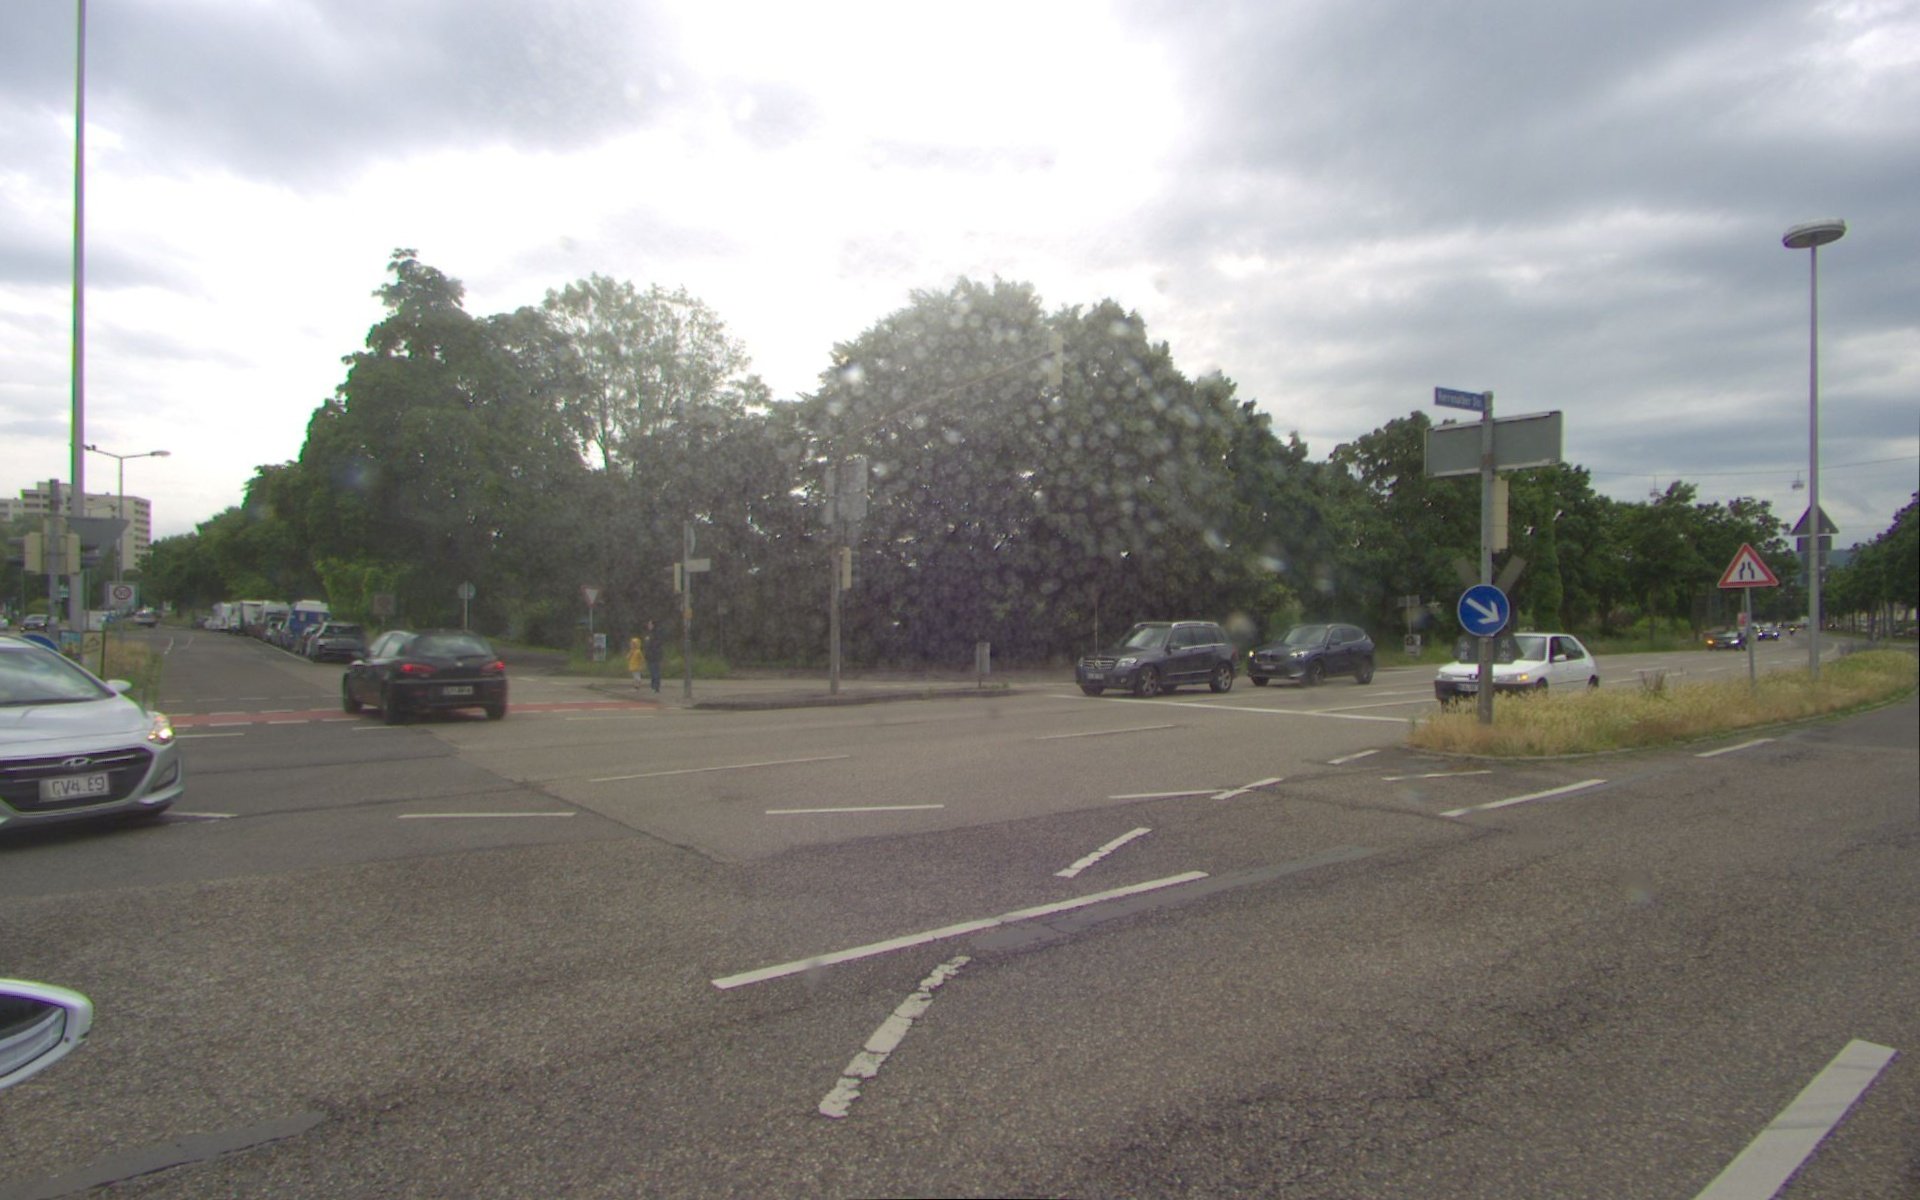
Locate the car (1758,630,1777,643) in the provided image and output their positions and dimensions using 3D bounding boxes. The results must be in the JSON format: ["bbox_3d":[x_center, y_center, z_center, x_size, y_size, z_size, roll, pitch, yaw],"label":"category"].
[{"bbox_3d":[114.346,5.157,141.815,1.978,1.677,3.967,-1,-1,42],"label":"car"}]

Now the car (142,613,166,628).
[{"bbox_3d":[-87.966,2.218,109.247,2.005,1.525,3.966,1,-1,-40],"label":"car"}]

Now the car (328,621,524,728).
[{"bbox_3d":[-8.964,1.115,16.608,1.786,1.476,4.497,1,-1,-43],"label":"car"}]

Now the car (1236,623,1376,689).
[{"bbox_3d":[9.325,1.442,26.870,3.958,1.639,1.862,1,-1,-41],"label":"car"}]

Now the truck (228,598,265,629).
[{"bbox_3d":[-60.665,1.162,85.146,1.979,2.606,5.330,1,-1,-42],"label":"truck"}]

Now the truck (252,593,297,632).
[{"bbox_3d":[-52.391,0.976,76.469,1.980,2.875,5.676,1,-1,-43],"label":"truck"}]

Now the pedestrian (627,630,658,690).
[{"bbox_3d":[-7.395,1.377,23.291,0.523,1.359,0.520,1,0,-40],"label":"pedestrian"}]

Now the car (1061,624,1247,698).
[{"bbox_3d":[4.548,1.336,23.099,4.429,1.523,1.831,1,-1,-40],"label":"car"}]

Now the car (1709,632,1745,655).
[{"bbox_3d":[54.056,3.023,70.554,1.643,1.550,3.856,0,-1,43],"label":"car"}]

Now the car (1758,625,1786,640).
[{"bbox_3d":[86.429,3.442,106.570,3.958,1.594,1.744,1,-1,-41],"label":"car"}]

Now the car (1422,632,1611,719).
[{"bbox_3d":[10.207,1.296,18.241,4.104,1.375,1.633,1,-1,-40],"label":"car"}]

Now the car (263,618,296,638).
[{"bbox_3d":[-44.450,1.815,65.401,1.315,1.206,3.620,1,-1,-42],"label":"car"}]

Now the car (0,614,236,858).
[{"bbox_3d":[-7.856,0.882,7.743,4.253,1.539,1.790,0,-1,24],"label":"car"}]

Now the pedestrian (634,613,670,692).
[{"bbox_3d":[-7.043,1.182,22.898,0.652,1.773,0.455,1,0,-41],"label":"pedestrian"}]

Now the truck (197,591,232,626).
[{"bbox_3d":[-68.773,0.824,92.293,1.980,3.048,5.717,1,-1,-43],"label":"truck"}]

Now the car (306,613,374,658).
[{"bbox_3d":[-24.755,1.363,39.913,1.770,1.683,3.966,1,-1,-40],"label":"car"}]

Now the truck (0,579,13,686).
[{"bbox_3d":[-20.226,0.654,19.394,2.137,2.227,5.795,1,-1,-38],"label":"truck"}]

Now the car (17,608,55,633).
[{"bbox_3d":[-76.519,1.720,82.958,1.977,2.040,3.968,1,-1,-39],"label":"car"}]

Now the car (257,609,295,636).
[{"bbox_3d":[-46.934,1.507,68.671,1.707,1.782,3.964,1,-1,-42],"label":"car"}]

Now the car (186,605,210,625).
[{"bbox_3d":[-79.455,1.546,104.393,1.641,1.944,3.879,1,0,-44],"label":"car"}]

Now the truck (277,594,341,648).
[{"bbox_3d":[-34.714,1.100,53.306,2.157,2.691,6.194,0,-1,-40],"label":"truck"}]
